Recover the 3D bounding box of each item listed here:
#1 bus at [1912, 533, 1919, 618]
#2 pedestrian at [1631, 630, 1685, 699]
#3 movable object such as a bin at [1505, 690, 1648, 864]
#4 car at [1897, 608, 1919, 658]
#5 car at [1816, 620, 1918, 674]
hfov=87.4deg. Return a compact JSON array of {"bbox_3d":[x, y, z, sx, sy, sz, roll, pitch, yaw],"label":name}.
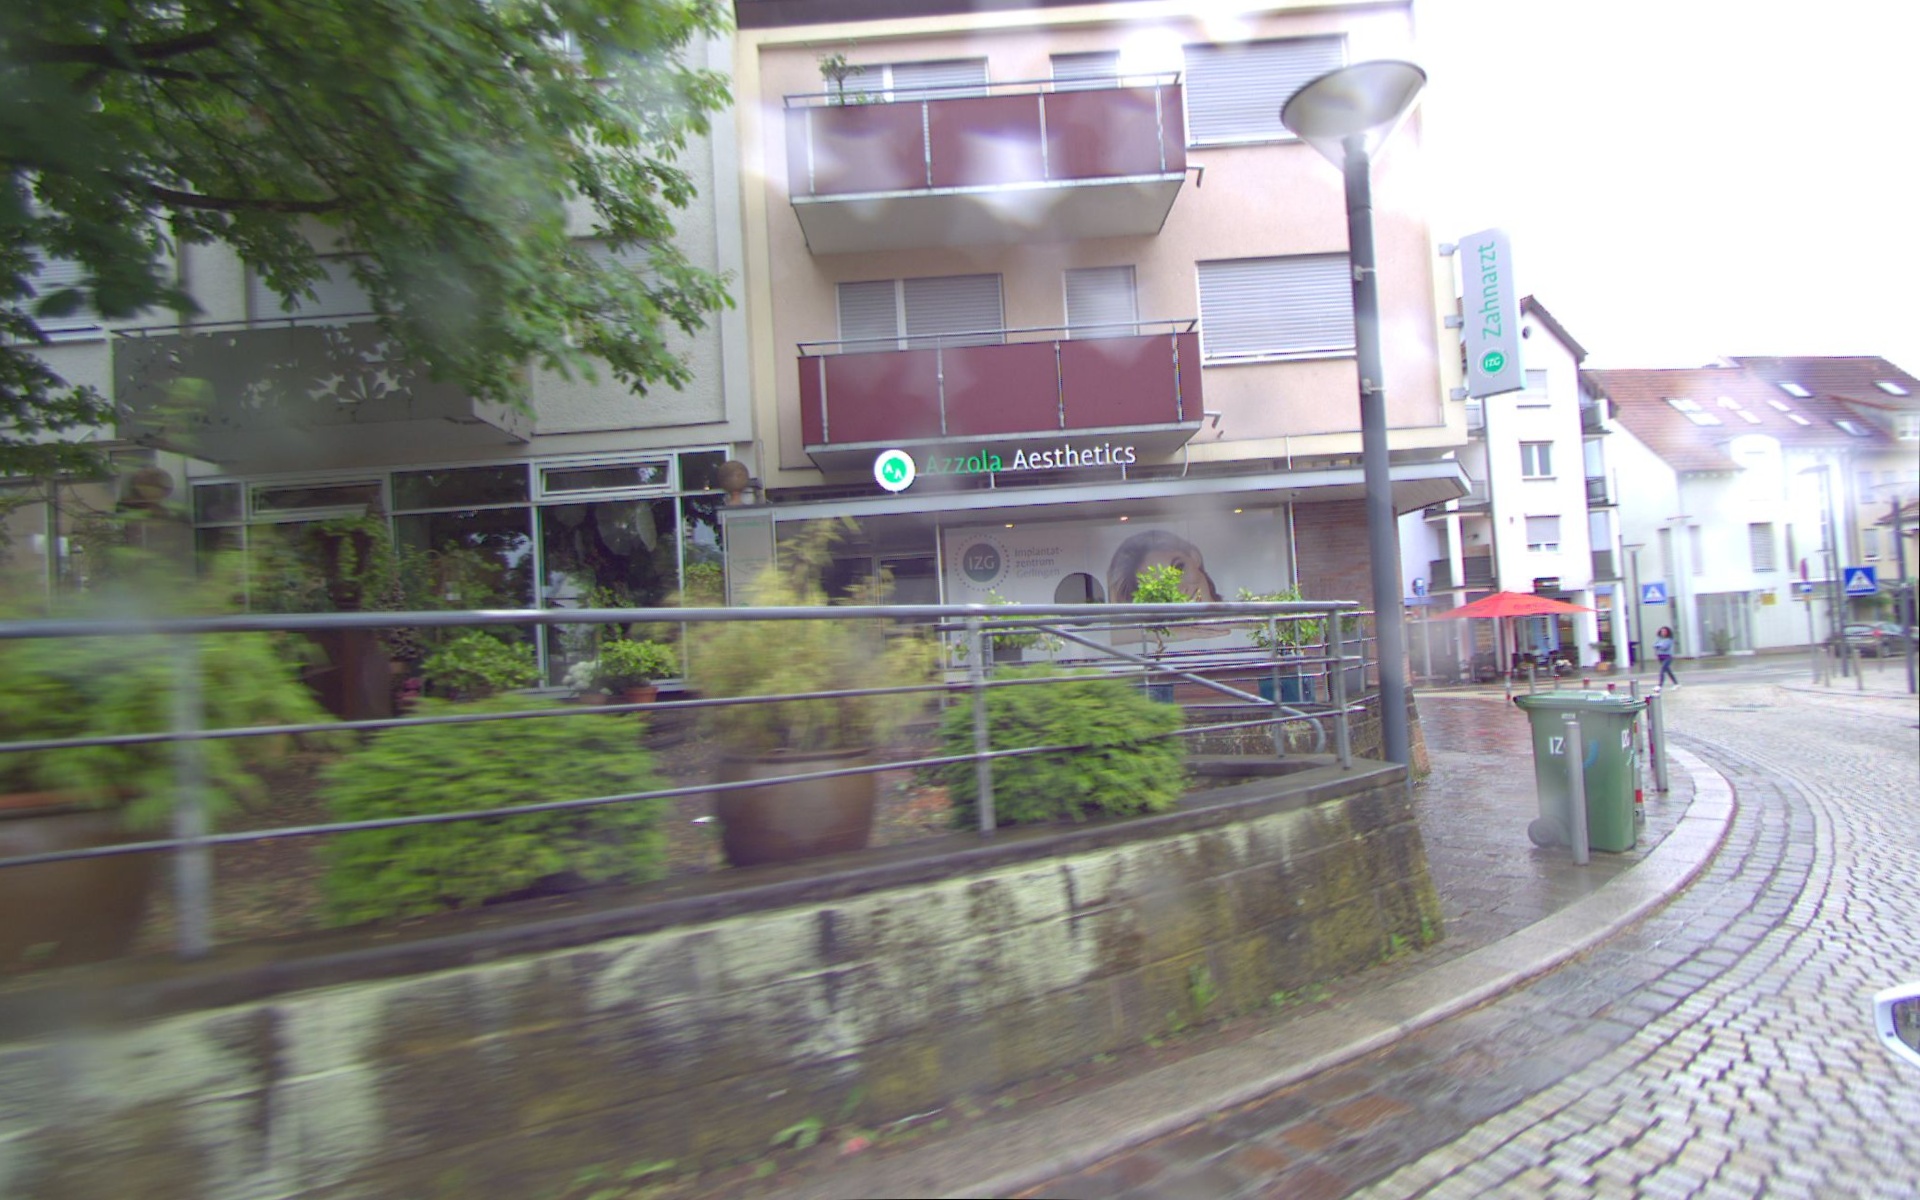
[{"bbox_3d":[15.138,0.168,11.764,2.738,3.028,10.544,-4,-3,27],"label":"bus"},{"bbox_3d":[18.727,1.710,26.958,0.769,1.756,0.763,-4,-1,-5],"label":"pedestrian"},{"bbox_3d":[4.332,1.207,7.068,0.535,1.101,0.673,-1,-2,-40],"label":"movable object such as a bin"},{"bbox_3d":[43.360,1.348,44.079,3.949,2.040,1.987,-4,-1,-28],"label":"car"},{"bbox_3d":[37.838,1.946,41.896,3.953,1.888,1.985,-3,-1,-31],"label":"car"}]
